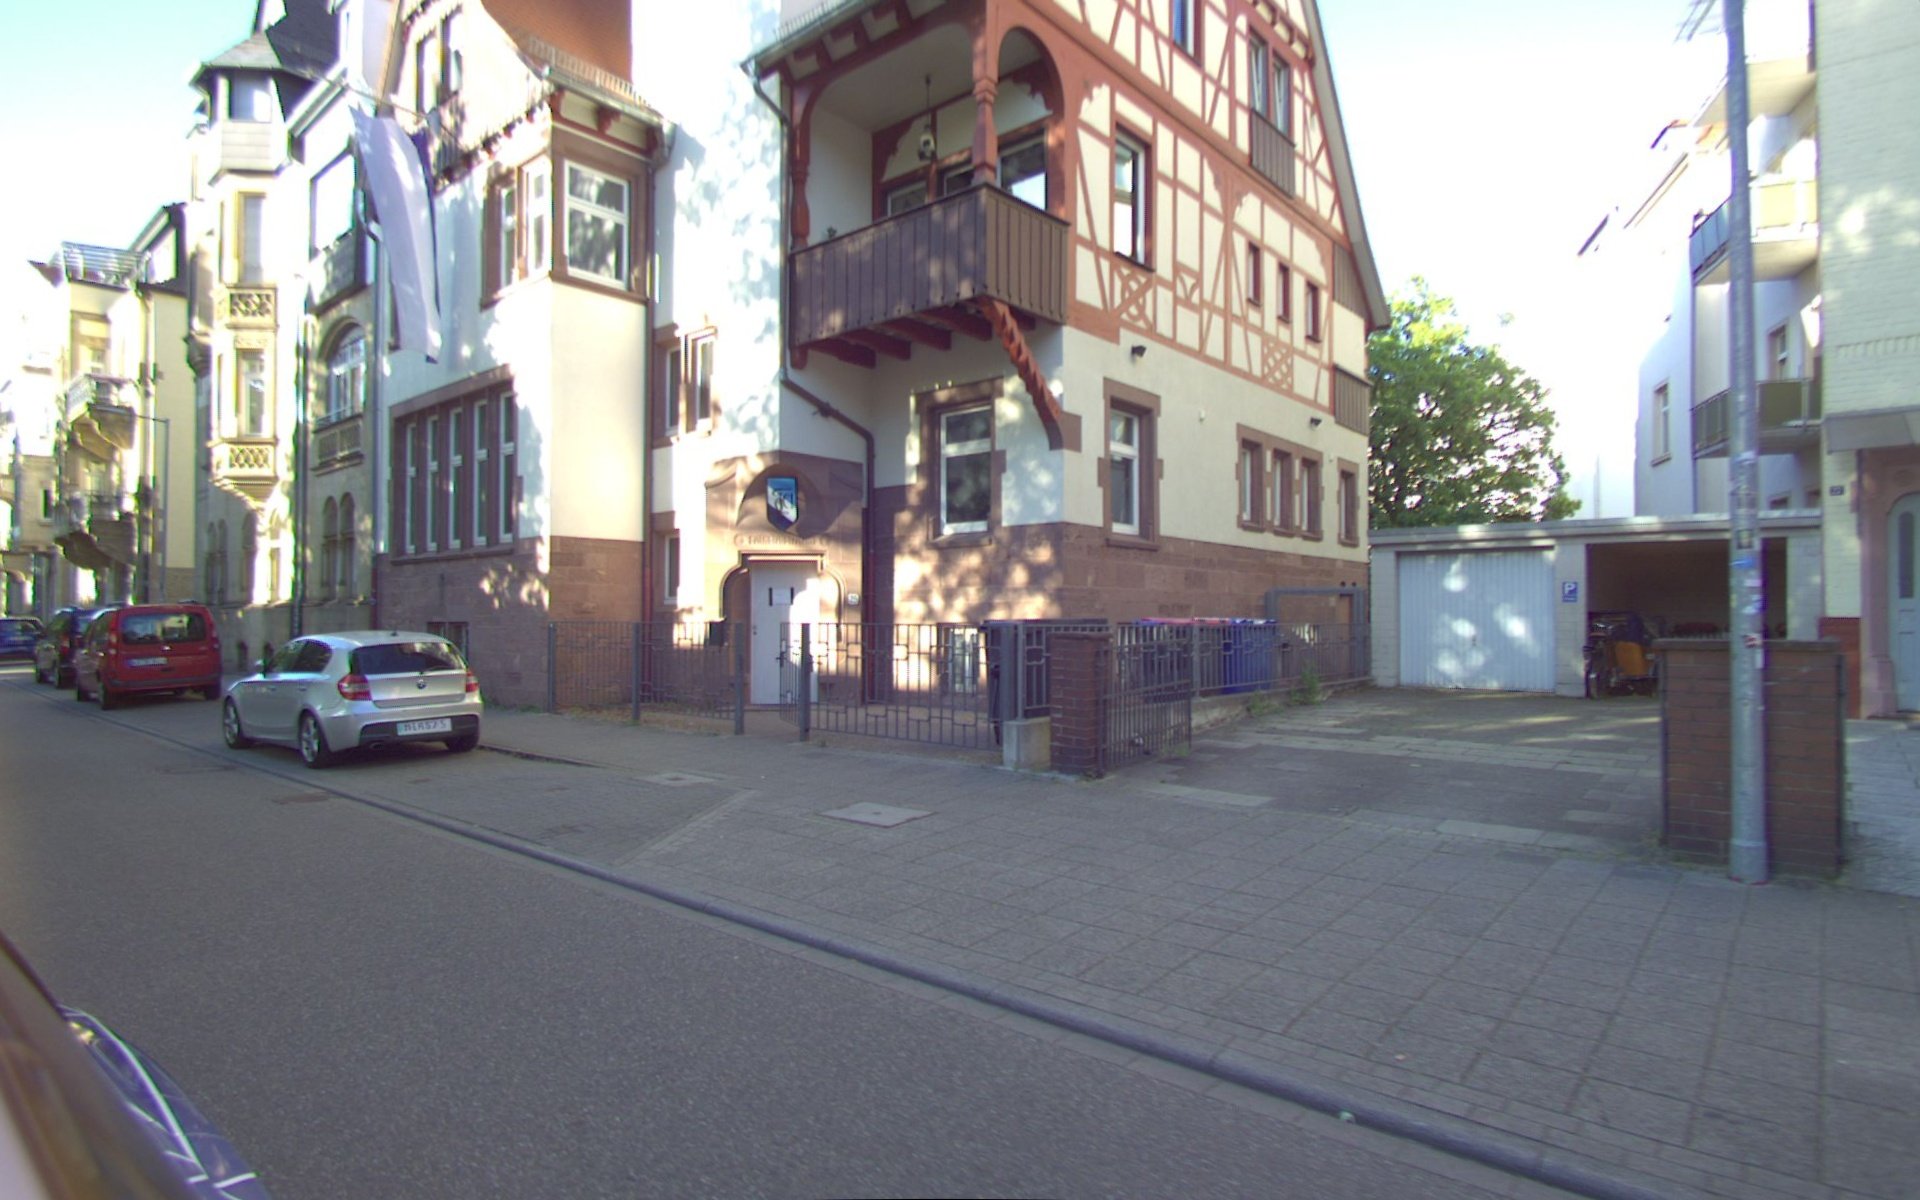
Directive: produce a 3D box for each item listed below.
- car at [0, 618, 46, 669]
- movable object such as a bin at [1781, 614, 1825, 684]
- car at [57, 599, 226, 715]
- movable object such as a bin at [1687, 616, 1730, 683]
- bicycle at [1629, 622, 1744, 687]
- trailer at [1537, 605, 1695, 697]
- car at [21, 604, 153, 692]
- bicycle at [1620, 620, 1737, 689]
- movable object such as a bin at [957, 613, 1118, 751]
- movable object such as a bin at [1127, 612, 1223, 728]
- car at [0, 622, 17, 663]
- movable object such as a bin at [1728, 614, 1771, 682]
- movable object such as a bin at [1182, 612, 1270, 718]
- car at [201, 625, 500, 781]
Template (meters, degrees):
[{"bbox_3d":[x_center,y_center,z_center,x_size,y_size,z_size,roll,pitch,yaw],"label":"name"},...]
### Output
[{"bbox_3d":[-30.565,1.394,32.336,2.860,1.520,1.666,-1,2,41],"label":"car"},{"bbox_3d":[13.937,0.797,16.736,0.537,1.133,0.769,-1,-2,40],"label":"movable object such as a bin"},{"bbox_3d":[-15.526,0.984,19.119,4.322,1.921,1.779,-1,0,41],"label":"car"},{"bbox_3d":[12.982,0.848,17.558,0.537,1.133,0.769,-1,-2,40],"label":"movable object such as a bin"},{"bbox_3d":[11.811,0.868,16.501,0.534,0.999,1.489,3,-2,-19],"label":"bicycle"},{"bbox_3d":[9.355,0.728,14.418,2.370,1.228,0.774,2,-2,-26],"label":"trailer"},{"bbox_3d":[-20.589,1.076,23.804,4.540,1.866,1.751,-1,-1,41],"label":"car"},{"bbox_3d":[11.330,0.841,16.007,0.662,1.026,1.376,3,-2,-19],"label":"bicycle"},{"bbox_3d":[0.799,0.792,10.416,1.358,1.309,0.970,0,-1,-39],"label":"movable object such as a bin"},{"bbox_3d":[2.650,0.815,12.400,0.685,1.327,1.368,-1,-1,34],"label":"movable object such as a bin"},{"bbox_3d":[-37.213,1.625,38.170,4.539,1.449,1.881,-1,2,41],"label":"car"},{"bbox_3d":[13.486,0.800,17.284,0.537,1.133,0.769,-1,-2,40],"label":"movable object such as a bin"},{"bbox_3d":[3.516,0.820,13.327,0.631,1.320,1.188,-1,-1,43],"label":"movable object such as a bin"},{"bbox_3d":[-7.211,1.048,11.815,4.099,1.477,1.727,-1,-1,39],"label":"car"}]
